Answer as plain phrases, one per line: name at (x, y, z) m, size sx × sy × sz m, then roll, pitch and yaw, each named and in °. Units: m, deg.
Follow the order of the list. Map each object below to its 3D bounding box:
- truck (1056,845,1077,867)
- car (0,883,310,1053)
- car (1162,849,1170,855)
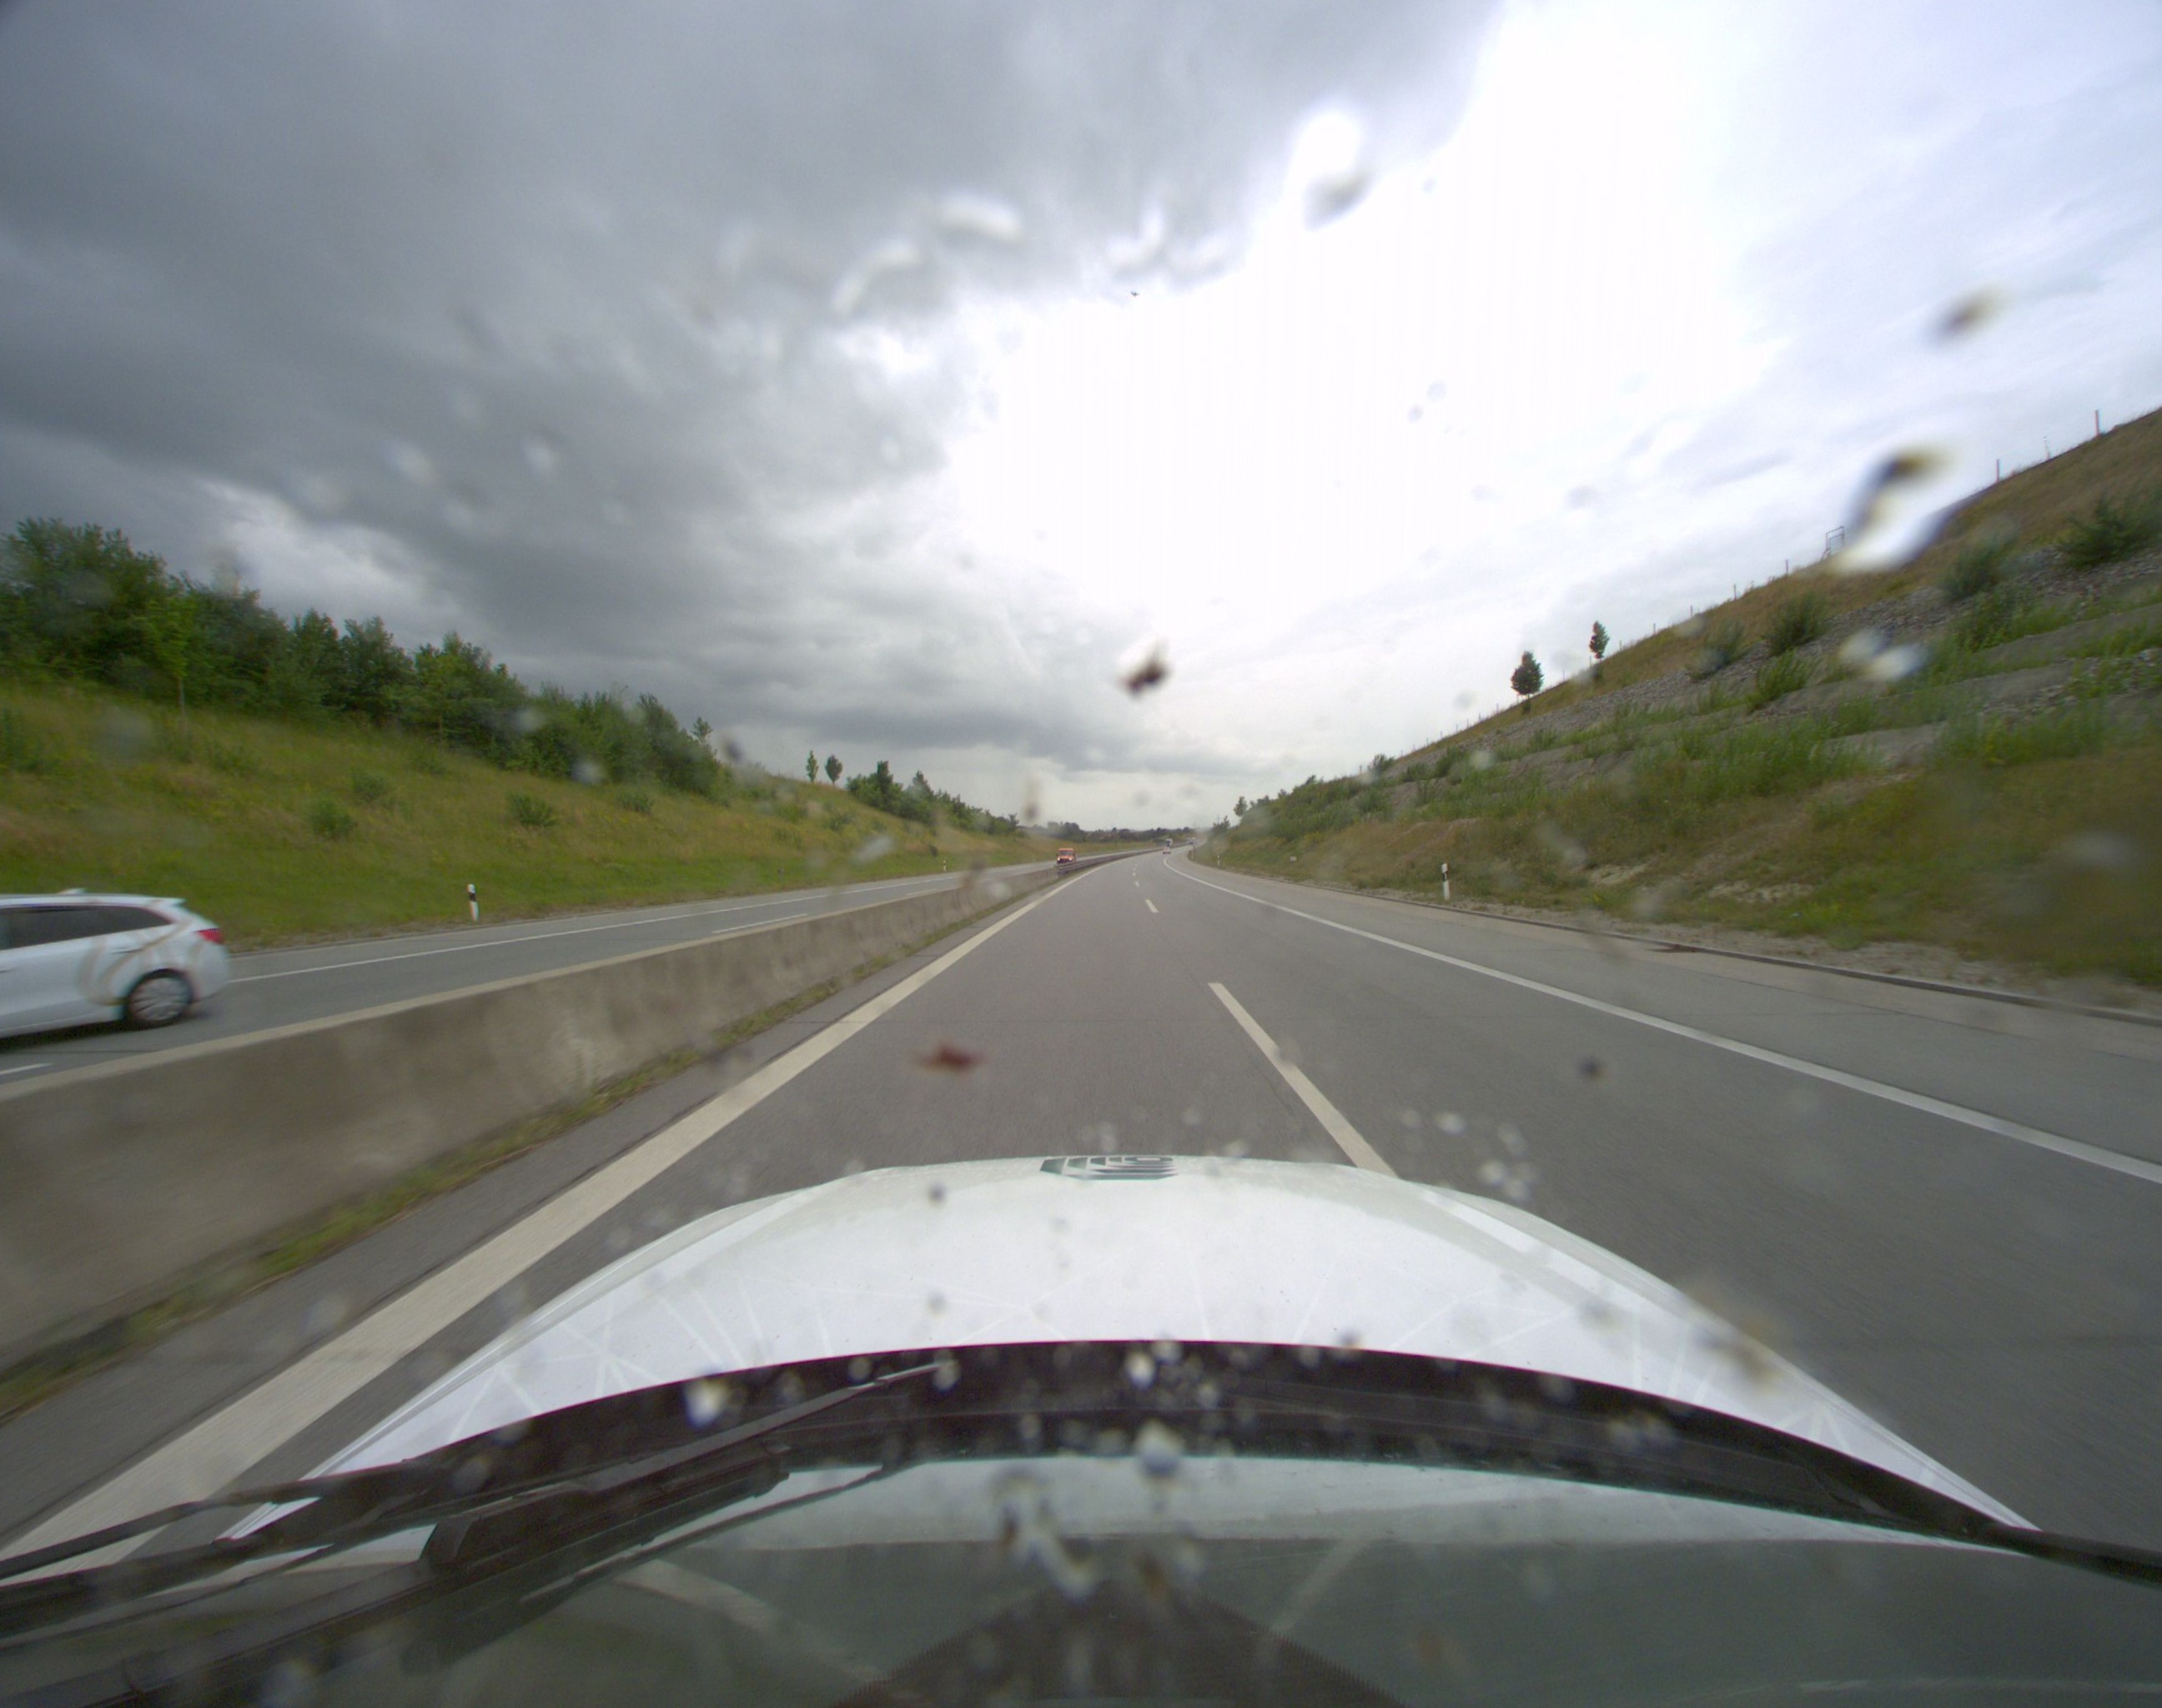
truck at (-1.777, 0.228, 102.228) m, size 2.181 × 2.509 × 6.559 m, roll -2°, pitch 0°, yaw 3°
car at (-10.647, 1.100, 7.743) m, size 1.767 × 1.440 × 5.016 m, roll -2°, pitch 0°, yaw 1°
car at (22.928, -0.578, 219.634) m, size 1.947 × 1.651 × 4.006 m, roll -2°, pitch 0°, yaw 6°
